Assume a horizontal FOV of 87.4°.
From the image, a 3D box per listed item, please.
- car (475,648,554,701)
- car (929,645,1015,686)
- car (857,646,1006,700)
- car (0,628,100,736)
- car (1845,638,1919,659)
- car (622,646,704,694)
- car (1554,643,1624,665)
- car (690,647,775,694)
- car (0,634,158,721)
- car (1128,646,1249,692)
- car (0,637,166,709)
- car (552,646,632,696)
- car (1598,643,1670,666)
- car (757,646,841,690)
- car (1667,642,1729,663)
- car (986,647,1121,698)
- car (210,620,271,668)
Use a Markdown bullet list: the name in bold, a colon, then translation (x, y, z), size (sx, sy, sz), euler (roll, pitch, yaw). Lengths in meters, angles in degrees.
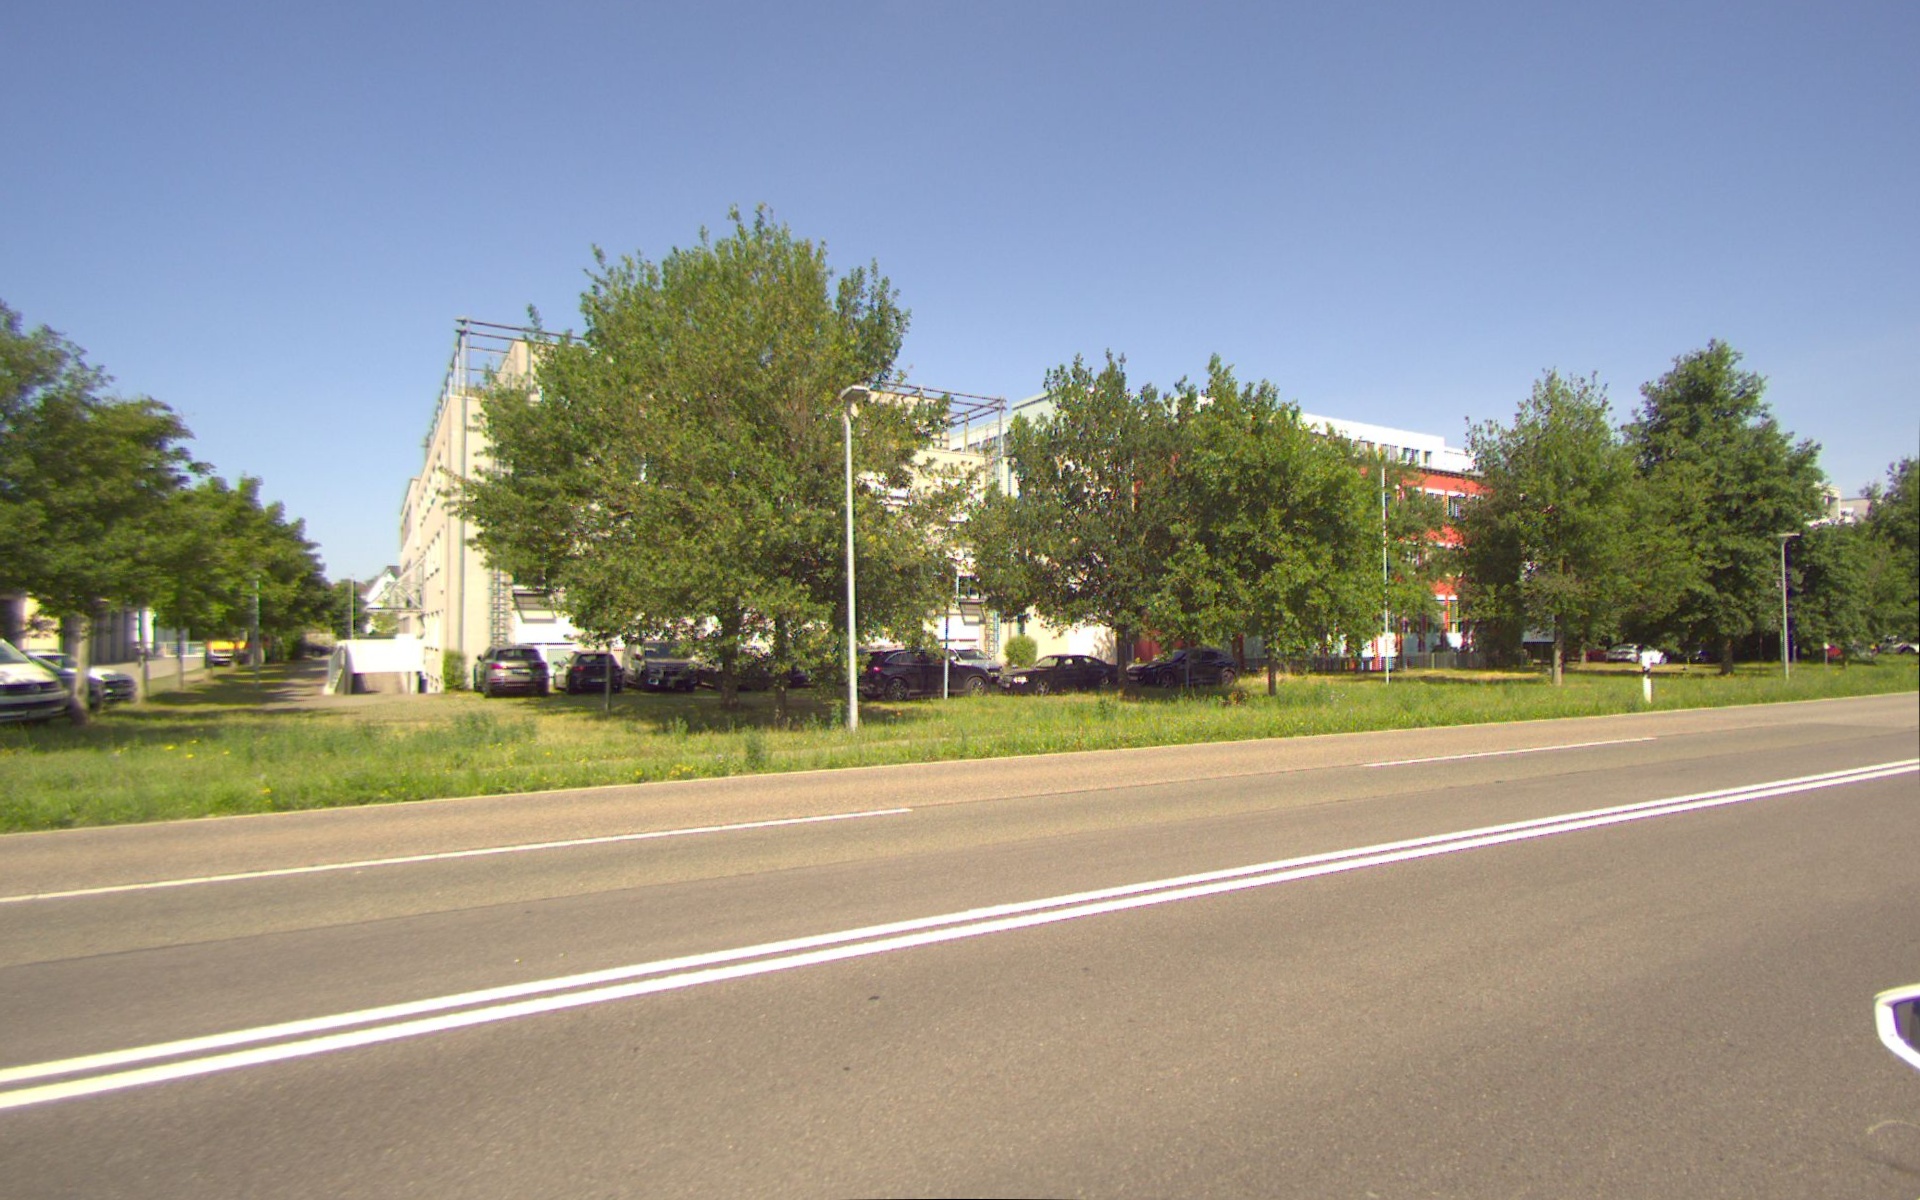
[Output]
- **car**: translation (-14.512, 2.353, 32.603), size (1.866, 1.557, 3.967), euler (1, -2, -31)
- **car**: translation (0.428, 2.687, 41.985), size (1.723, 1.606, 4.115), euler (1, -2, -31)
- **car**: translation (-0.887, 2.272, 32.031), size (4.496, 1.599, 1.735), euler (1, -2, -31)
- **car**: translation (-19.703, 1.492, 19.064), size (4.916, 1.954, 2.075), euler (0, -2, 0)
- **car**: translation (76.755, 3.986, 83.344), size (1.977, 1.672, 4.573), euler (1, -2, -30)
- **car**: translation (-10.477, 2.408, 35.282), size (1.866, 1.557, 3.967), euler (1, -2, -31)
- **car**: translation (43.217, 3.670, 68.982), size (4.894, 1.456, 1.985), euler (1, -2, -29)
- **car**: translation (-8.318, 2.520, 36.483), size (1.866, 1.557, 3.967), euler (1, -2, -31)
- **car**: translation (-21.204, 1.672, 22.399), size (4.916, 1.830, 2.075), euler (0, -2, 0)
- **car**: translation (8.628, 2.563, 37.769), size (4.496, 1.599, 1.735), euler (1, -2, -31)
- **car**: translation (-24.729, 1.932, 27.118), size (4.916, 1.830, 2.075), euler (0, -2, 0)
- **car**: translation (-12.582, 2.368, 34.228), size (1.866, 1.557, 3.967), euler (1, -2, -31)
- **car**: translation (44.998, 3.587, 67.028), size (4.894, 1.456, 1.985), euler (1, -2, -29)
- **car**: translation (-6.183, 2.533, 38.230), size (1.866, 1.557, 3.967), euler (1, -2, -31)
- **car**: translation (53.250, 3.741, 72.435), size (4.556, 1.456, 1.984), euler (1, -2, -31)
- **car**: translation (3.239, 2.455, 34.594), size (4.496, 1.599, 1.735), euler (1, -2, -31)
- **car**: translation (-42.491, 2.577, 59.484), size (2.259, 2.643, 6.547), euler (1, -2, -30)
